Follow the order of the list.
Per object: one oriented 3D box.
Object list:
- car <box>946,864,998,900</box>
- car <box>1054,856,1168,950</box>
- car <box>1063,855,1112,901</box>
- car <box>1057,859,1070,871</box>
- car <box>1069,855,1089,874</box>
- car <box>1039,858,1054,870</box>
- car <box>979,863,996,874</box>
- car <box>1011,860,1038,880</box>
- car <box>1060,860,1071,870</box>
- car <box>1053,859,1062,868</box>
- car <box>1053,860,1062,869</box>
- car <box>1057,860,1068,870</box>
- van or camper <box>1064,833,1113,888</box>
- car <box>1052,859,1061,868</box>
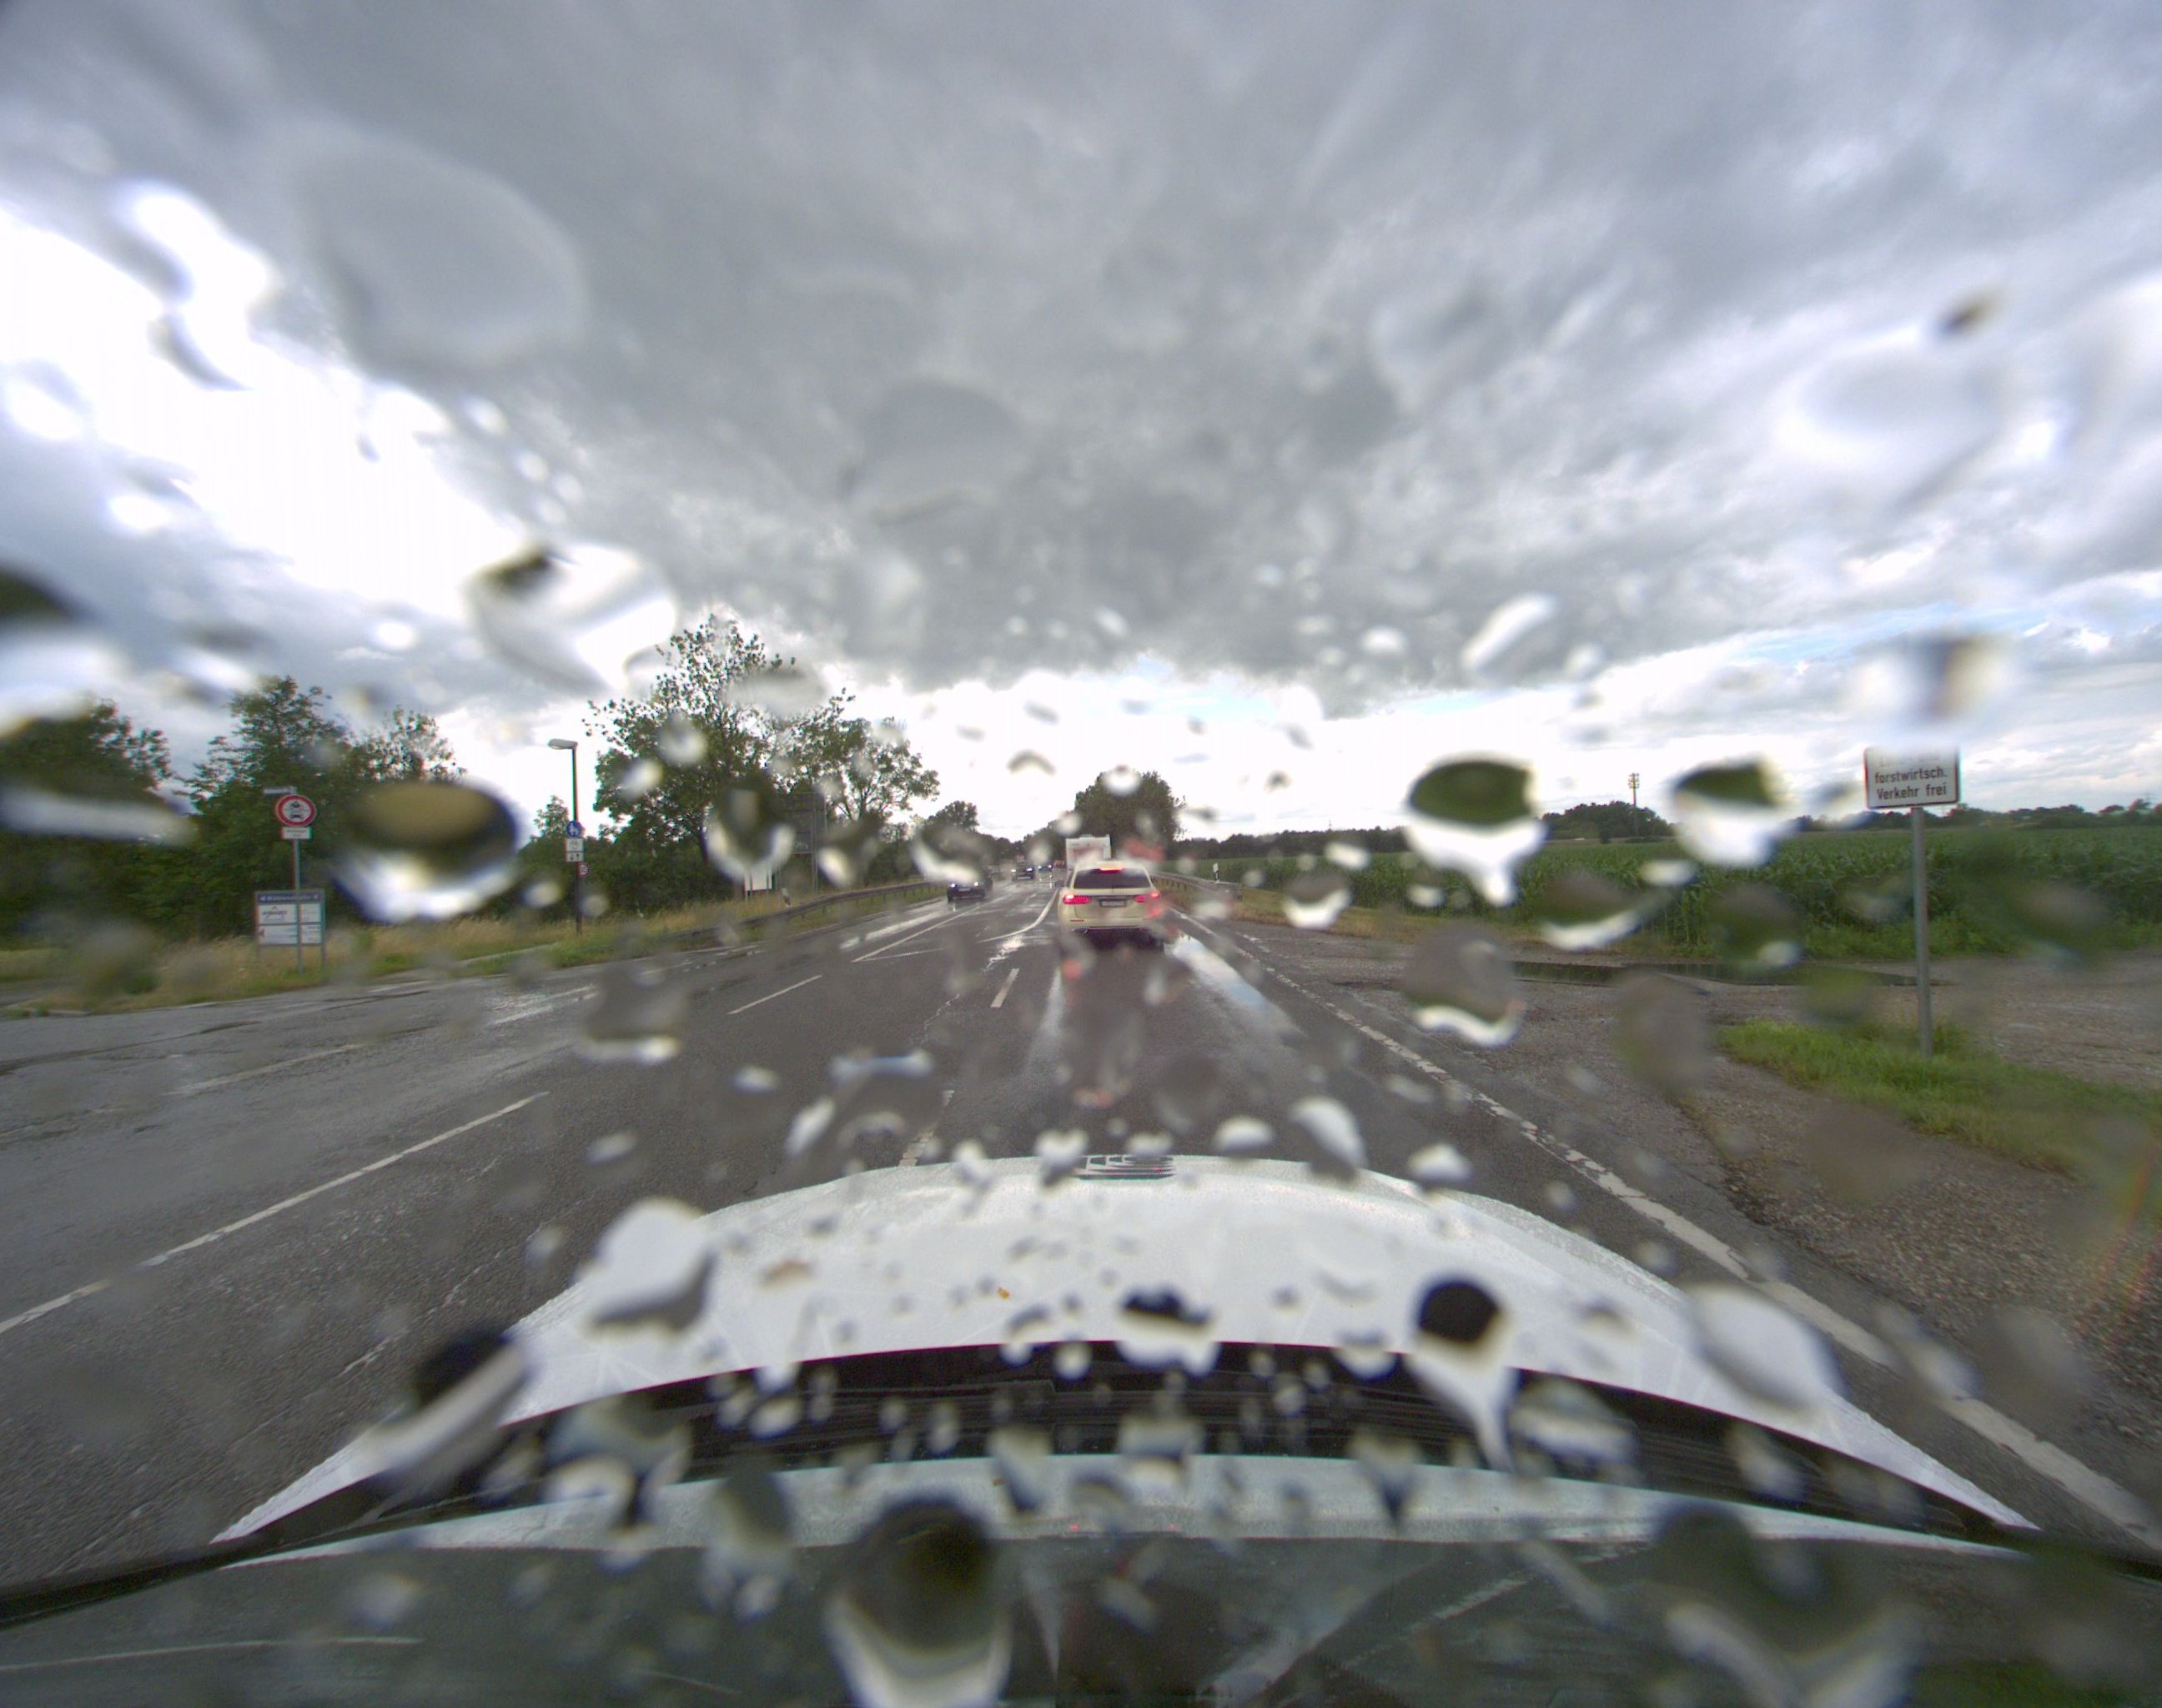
[{"bbox_3d":[-4.918,1.221,37.080,1.706,1.405,3.814,-3,0,1],"label":"car"},{"bbox_3d":[0.534,0.807,15.304,1.818,1.485,4.146,-1,0,1],"label":"car"},{"bbox_3d":[0.237,0.842,30.208,1.622,1.529,3.932,-3,0,0],"label":"car"},{"bbox_3d":[-3.100,1.927,143.778,1.990,2.014,3.994,-2,-1,-4],"label":"car"},{"bbox_3d":[-0.215,1.278,100.466,2.239,2.199,5.412,-2,0,1],"label":"car"},{"bbox_3d":[-4.836,1.417,114.039,1.763,1.523,4.141,-4,0,1],"label":"car"},{"bbox_3d":[-14.484,2.232,125.983,1.986,1.651,4.001,-2,0,1],"label":"car"},{"bbox_3d":[-4.927,1.356,71.793,1.937,1.580,4.443,-3,0,1],"label":"car"},{"bbox_3d":[-3.100,2.171,164.057,1.989,2.014,3.996,-2,-1,-3],"label":"car"},{"bbox_3d":[-5.550,2.313,191.723,1.988,2.051,3.998,-2,-1,-1],"label":"car"},{"bbox_3d":[-5.273,2.348,185.250,1.988,2.014,3.998,-2,-1,-1],"label":"car"},{"bbox_3d":[-3.875,2.260,172.307,1.990,2.014,3.993,-2,-1,-4],"label":"car"},{"bbox_3d":[0.398,0.312,43.836,2.343,2.680,5.767,-2,0,0],"label":"van or camper"},{"bbox_3d":[-6.024,2.374,202.309,1.989,2.014,3.995,-2,-1,-3],"label":"car"}]
